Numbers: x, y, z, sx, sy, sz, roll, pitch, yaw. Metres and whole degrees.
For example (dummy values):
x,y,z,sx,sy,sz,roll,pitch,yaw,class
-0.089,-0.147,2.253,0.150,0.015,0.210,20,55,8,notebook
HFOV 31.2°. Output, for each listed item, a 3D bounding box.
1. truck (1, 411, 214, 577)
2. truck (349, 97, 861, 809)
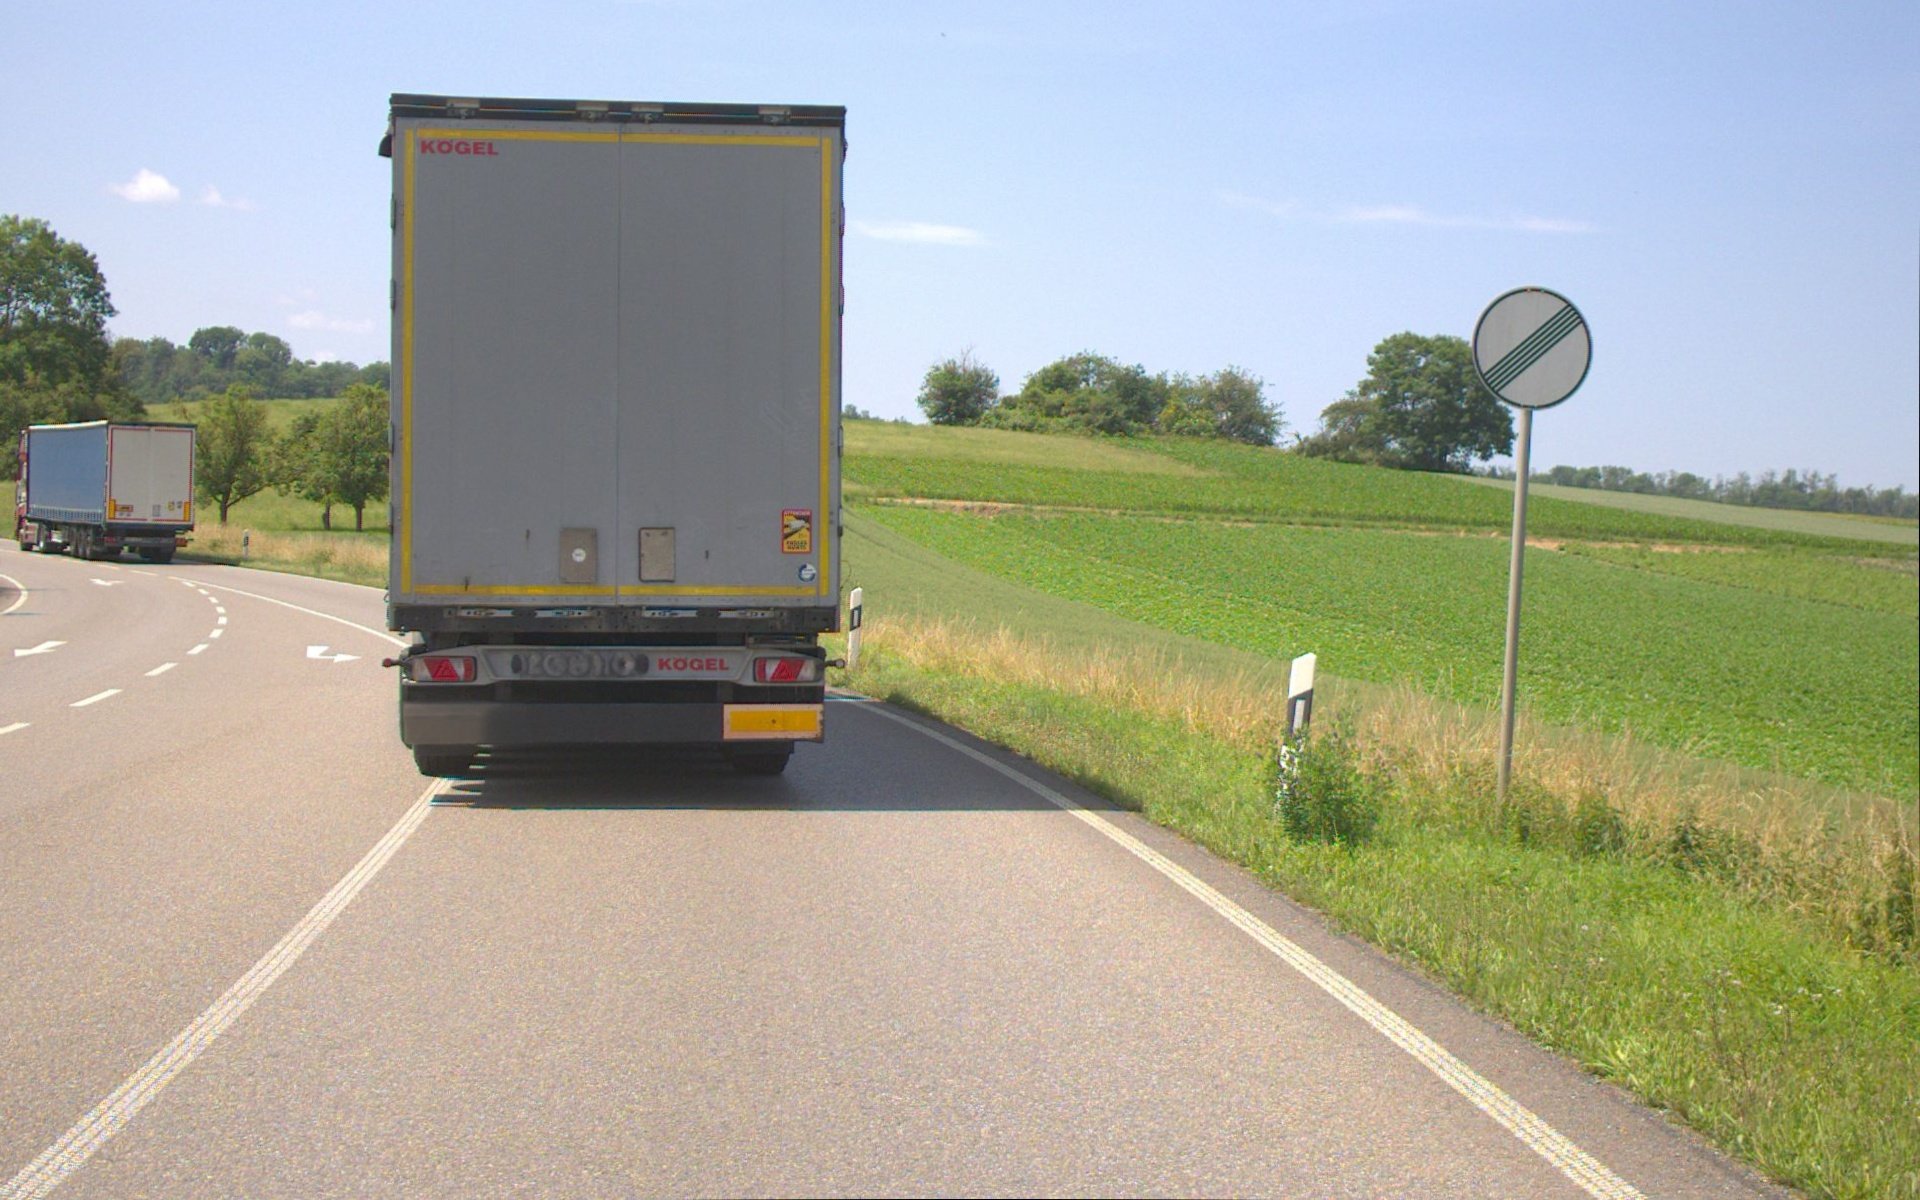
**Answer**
x,y,z,sx,sy,sz,roll,pitch,yaw,class
-26.249,-3.161,105.009,2.960,4.568,16.319,3,0,-25,truck
-2.686,-0.877,23.959,2.807,3.932,9.593,1,1,-9,truck
